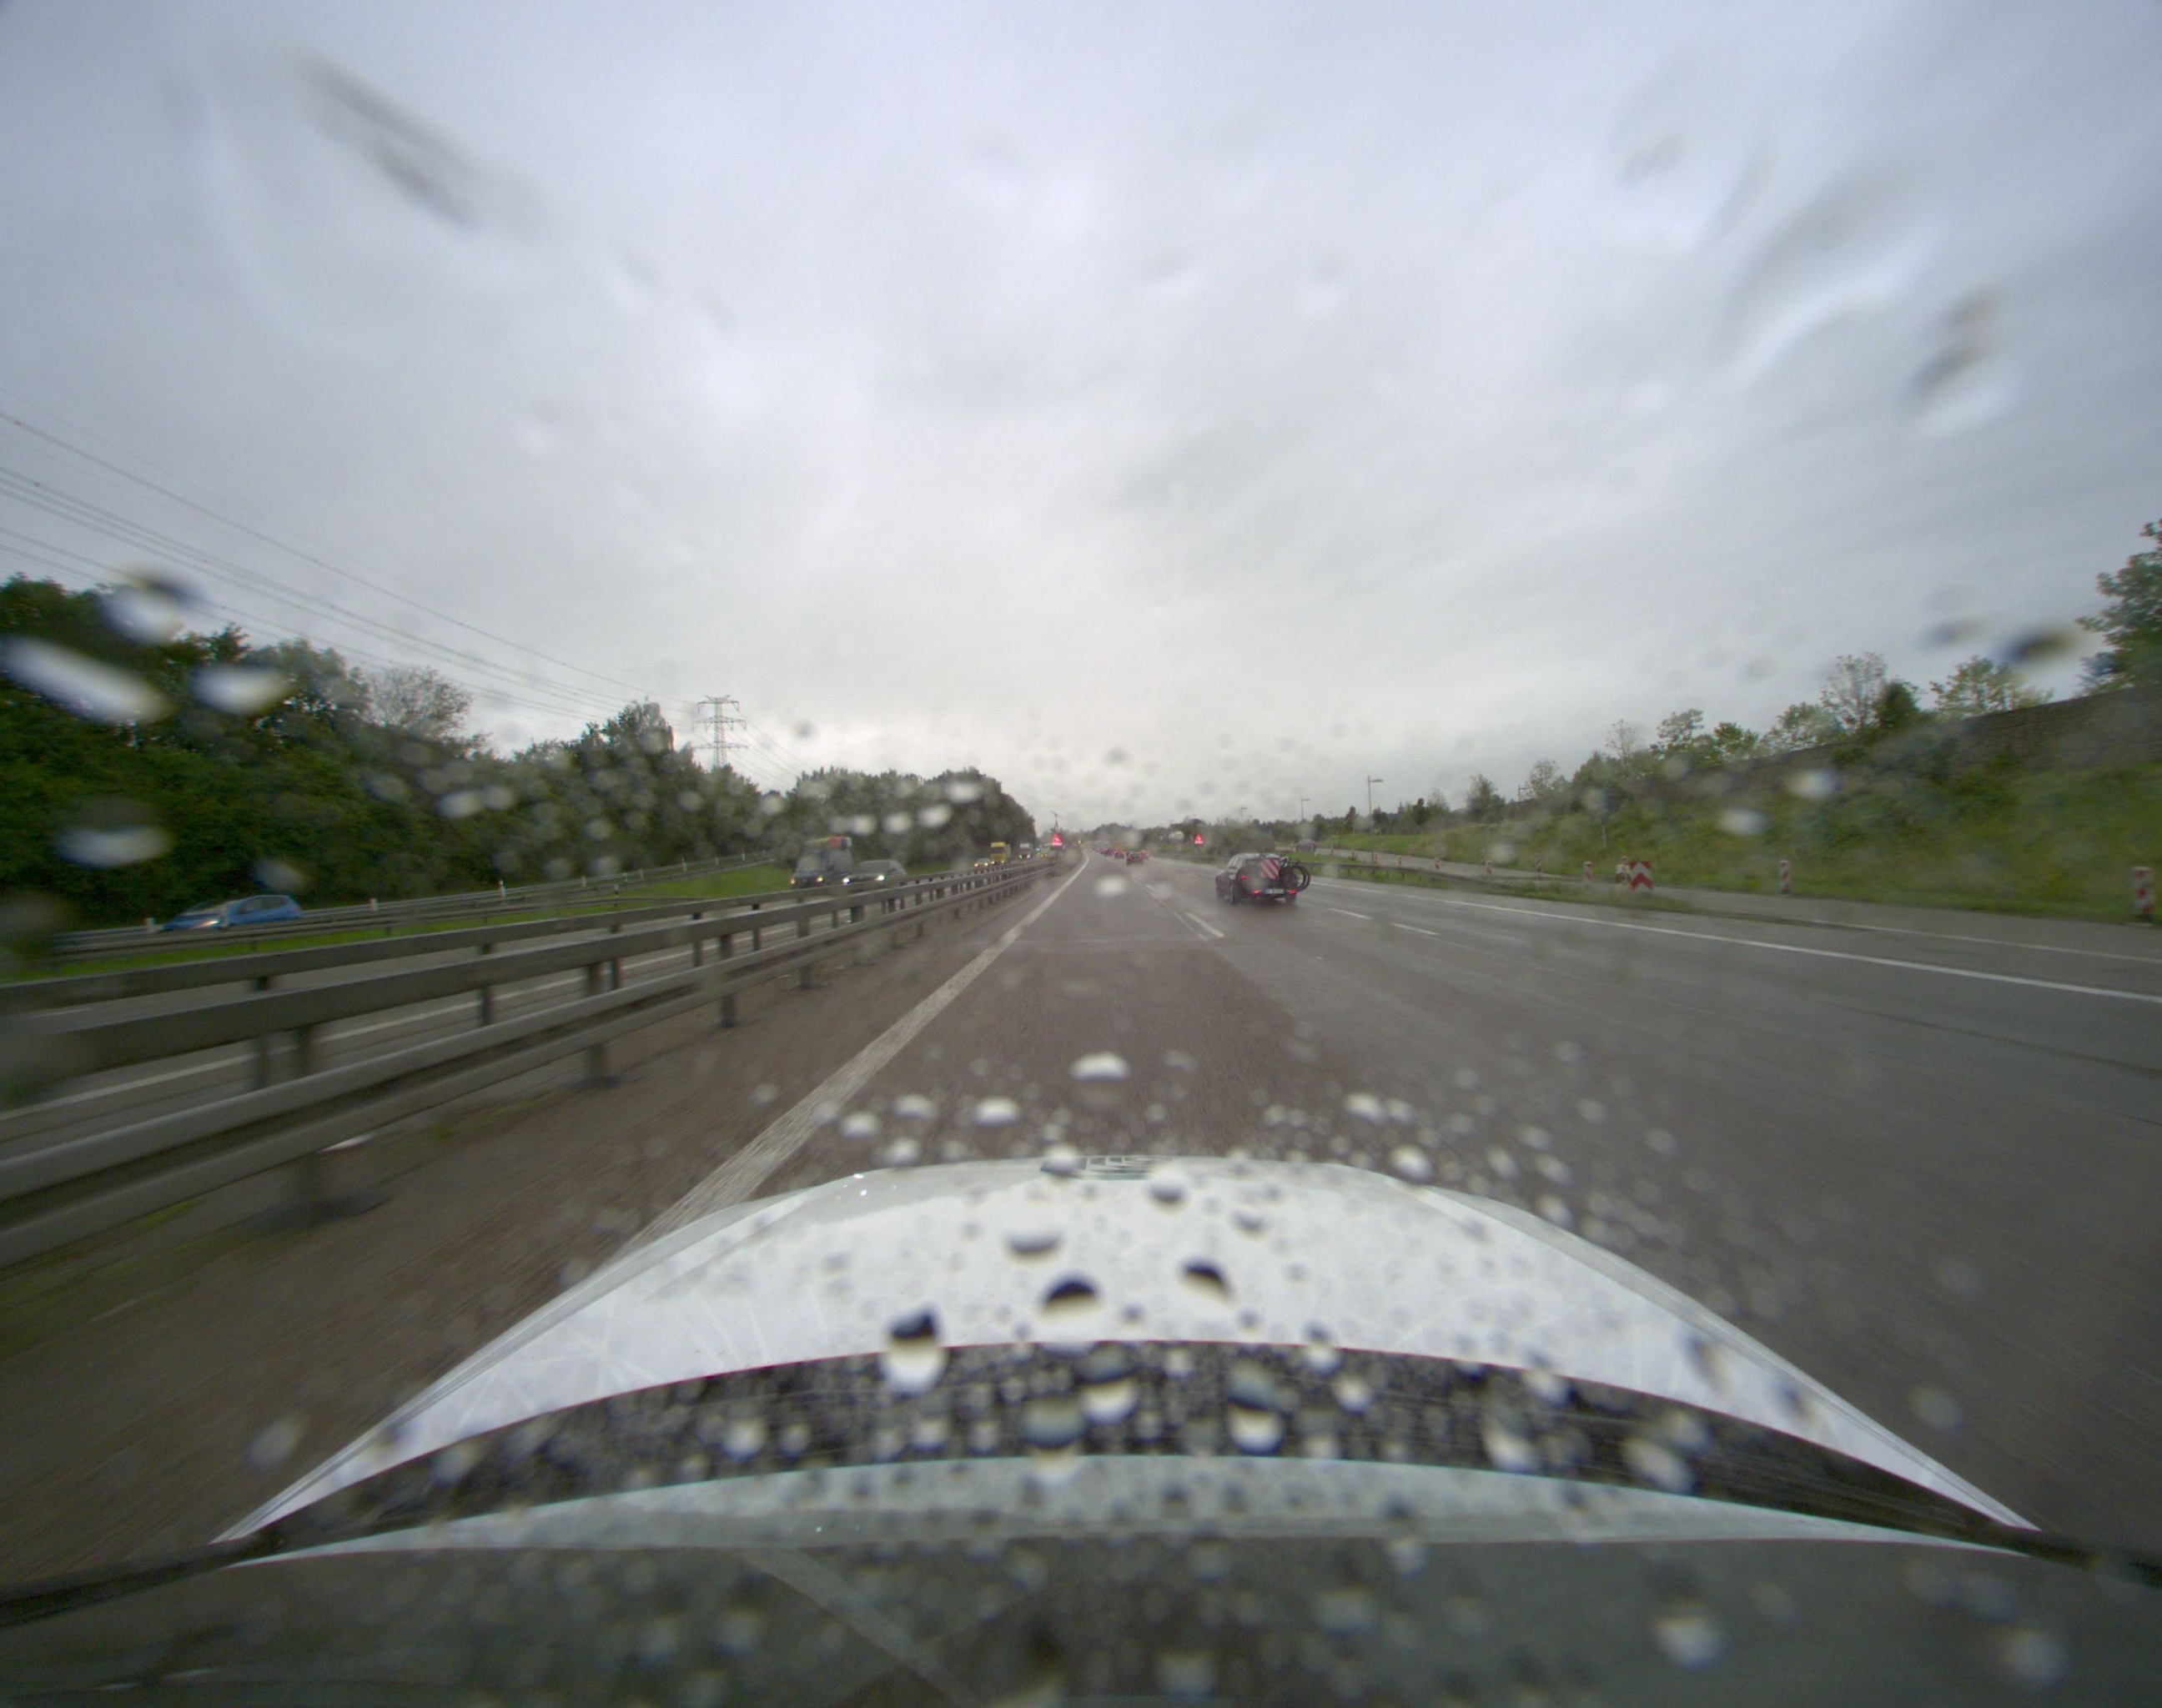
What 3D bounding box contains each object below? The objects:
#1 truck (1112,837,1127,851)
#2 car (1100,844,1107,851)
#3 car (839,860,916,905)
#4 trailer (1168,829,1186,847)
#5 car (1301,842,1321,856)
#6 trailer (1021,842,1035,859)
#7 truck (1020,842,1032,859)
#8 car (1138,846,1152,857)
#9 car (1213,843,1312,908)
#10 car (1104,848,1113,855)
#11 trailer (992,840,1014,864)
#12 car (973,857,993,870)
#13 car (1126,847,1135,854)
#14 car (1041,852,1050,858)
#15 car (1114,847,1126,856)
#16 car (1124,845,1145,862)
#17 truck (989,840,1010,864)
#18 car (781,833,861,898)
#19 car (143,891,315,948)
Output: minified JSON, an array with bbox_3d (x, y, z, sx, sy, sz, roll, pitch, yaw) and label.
[{"bbox_3d":[11.424,-2.937,244.443,3.911,3.981,12.240,-3,0,1],"label":"truck"},{"bbox_3d":[6.959,-2.009,251.100,1.987,2.205,4.000,-3,0,0],"label":"car"},{"bbox_3d":[-8.674,1.164,35.119,1.917,1.656,4.792,-3,0,2],"label":"car"},{"bbox_3d":[24.302,-4.007,206.958,2.975,4.156,12.956,-3,0,0],"label":"trailer"},{"bbox_3d":[29.480,-0.653,104.525,1.912,1.709,4.008,-3,0,7],"label":"car"},{"bbox_3d":[-14.143,-0.939,218.220,2.634,4.237,13.913,-2,0,1],"label":"trailer"},{"bbox_3d":[-14.289,-0.873,210.485,2.634,4.237,4.001,-2,0,1],"label":"truck"},{"bbox_3d":[10.686,-0.444,136.670,1.987,1.761,4.000,1,0,0],"label":"car"},{"bbox_3d":[5.187,0.597,24.037,2.048,1.671,5.527,-1,-1,4],"label":"car"},{"bbox_3d":[6.782,-0.656,200.162,1.987,1.628,4.000,-3,0,0],"label":"car"},{"bbox_3d":[-14.197,-0.390,148.597,2.752,4.055,9.201,-4,0,1],"label":"trailer"},{"bbox_3d":[-12.635,1.208,105.689,1.868,1.493,4.515,-4,0,1],"label":"car"},{"bbox_3d":[12.018,-0.886,197.984,1.987,1.628,4.000,-3,0,0],"label":"car"},{"bbox_3d":[-9.432,0.179,215.695,1.868,1.493,4.515,-4,0,1],"label":"car"},{"bbox_3d":[7.428,-0.416,154.701,1.987,1.628,4.000,-3,0,0],"label":"car"},{"bbox_3d":[5.949,-0.098,90.633,1.987,1.761,4.000,-3,0,0],"label":"car"},{"bbox_3d":[-14.274,-0.344,143.275,2.753,4.055,6.157,-4,0,1],"label":"truck"},{"bbox_3d":[-14.714,0.610,46.584,2.246,3.327,6.177,-3,0,2],"label":"car"},{"bbox_3d":[-29.194,2.185,28.118,1.966,1.543,3.990,-3,0,-7],"label":"car"}]
